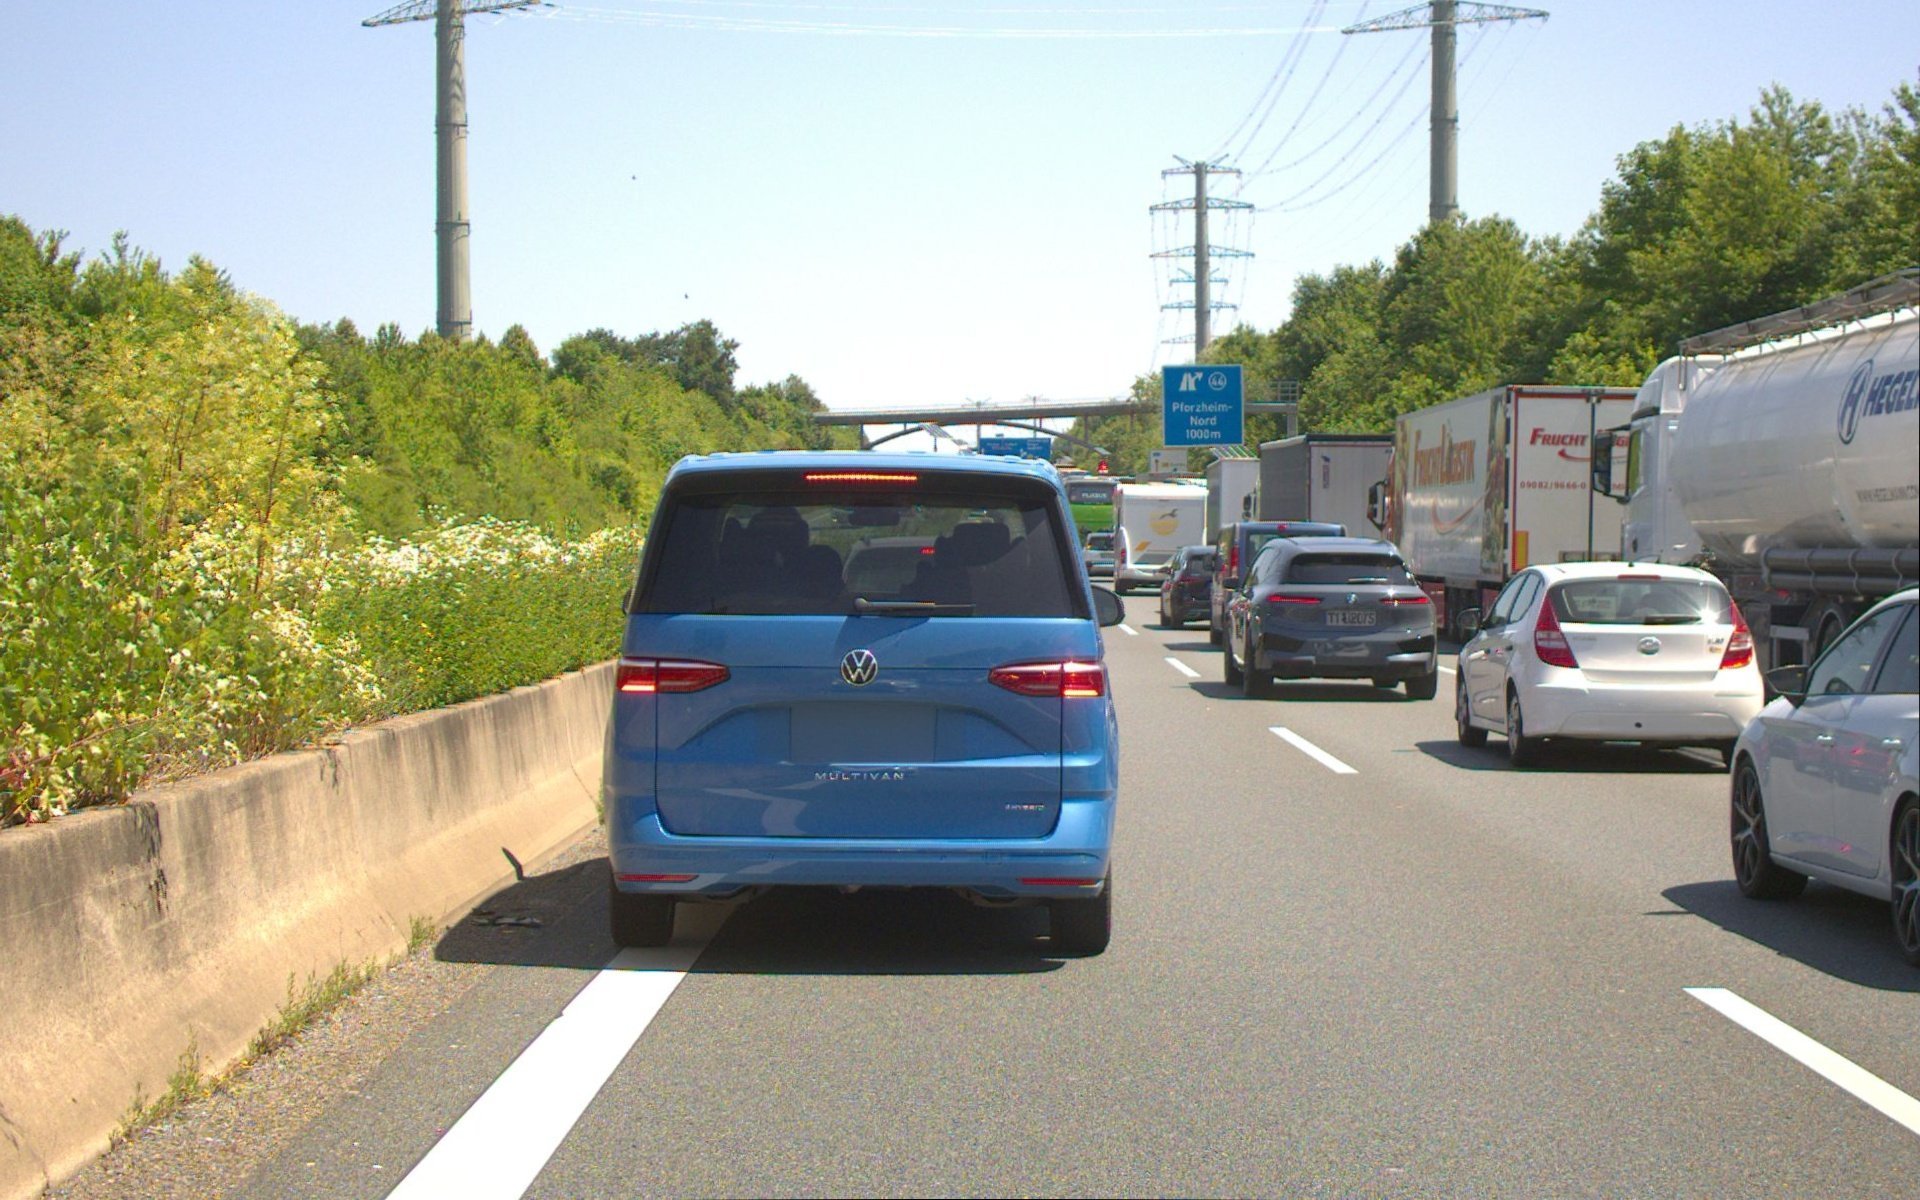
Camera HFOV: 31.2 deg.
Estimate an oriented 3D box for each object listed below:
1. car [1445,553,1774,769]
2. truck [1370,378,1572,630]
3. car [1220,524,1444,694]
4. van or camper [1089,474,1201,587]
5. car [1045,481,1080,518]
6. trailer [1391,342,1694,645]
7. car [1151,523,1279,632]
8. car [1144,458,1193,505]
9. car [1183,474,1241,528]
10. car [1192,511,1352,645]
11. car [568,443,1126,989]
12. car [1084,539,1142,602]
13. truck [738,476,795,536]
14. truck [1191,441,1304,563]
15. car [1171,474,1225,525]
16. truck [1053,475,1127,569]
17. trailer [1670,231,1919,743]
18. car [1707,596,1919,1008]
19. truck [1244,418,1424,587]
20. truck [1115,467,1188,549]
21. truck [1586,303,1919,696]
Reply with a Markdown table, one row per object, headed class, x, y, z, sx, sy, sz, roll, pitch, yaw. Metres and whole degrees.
| class | x | y | z | sx | sy | sz | roll | pitch | yaw |
| --- | --- | --- | --- | --- | --- | --- | --- | --- | --- |
| car | 4.795 | 0.421 | 25.894 | 1.817 | 1.480 | 4.000 | -1 | 0 | 2 |
| truck | 9.385 | -1.737 | 63.659 | 2.912 | 4.453 | 5.143 | -1 | 1 | 0 |
| car | 3.965 | 0.092 | 37.378 | 1.999 | 1.709 | 4.625 | -1 | 0 | 1 |
| van or camper | 5.089 | -1.894 | 95.749 | 2.957 | 3.011 | 7.102 | 0 | 0 | 2 |
| car | 6.145 | -6.032 | 206.571 | 1.993 | 2.118 | 4.000 | 0 | 0 | 0 |
| trailer | 9.395 | -1.654 | 57.025 | 2.912 | 4.453 | 12.154 | -1 | 1 | 0 |
| car | 4.715 | -0.402 | 64.045 | 1.923 | 1.919 | 4.236 | -2 | 0 | -1 |
| car | 9.270 | -5.268 | 153.115 | 1.993 | 2.007 | 4.000 | 0 | 0 | 1 |
| car | 9.734 | -3.818 | 132.904 | 1.993 | 2.007 | 4.000 | 0 | 0 | 1 |
| car | 4.741 | -0.323 | 52.814 | 1.923 | 1.919 | 4.236 | -2 | 0 | -1 |
| car | -0.381 | 0.371 | 14.009 | 1.920 | 1.880 | 4.000 | 1 | 1 | 0 |
| car | 5.034 | -0.962 | 113.664 | 1.836 | 1.992 | 4.000 | -1 | 0 | 2 |
| truck | -12.783 | -6.215 | 228.145 | 2.911 | 3.806 | 11.944 | 1 | 1 | 0 |
| truck | 9.419 | -3.132 | 113.916 | 2.895 | 3.754 | 13.344 | 0 | 0 | 1 |
| car | 9.751 | -4.104 | 141.005 | 1.993 | 2.007 | 4.000 | 0 | 0 | 1 |
| truck | 5.362 | -3.193 | 143.564 | 2.895 | 3.754 | 10.140 | 0 | 0 | 1 |
| trailer | 8.563 | -0.891 | 28.916 | 2.761 | 3.831 | 11.486 | -1 | 1 | 0 |
| car | 4.266 | 0.702 | 13.589 | 1.747 | 1.438 | 4.313 | -1 | 0 | 1 |
| truck | 8.953 | -2.218 | 84.146 | 3.006 | 3.754 | 15.712 | 0 | 0 | 1 |
| truck | 10.944 | -5.228 | 197.328 | 3.566 | 4.502 | 10.293 | 0 | 0 | 0 |
| truck | 8.552 | -1.017 | 36.393 | 2.793 | 3.823 | 5.572 | -1 | 1 | 0 |
